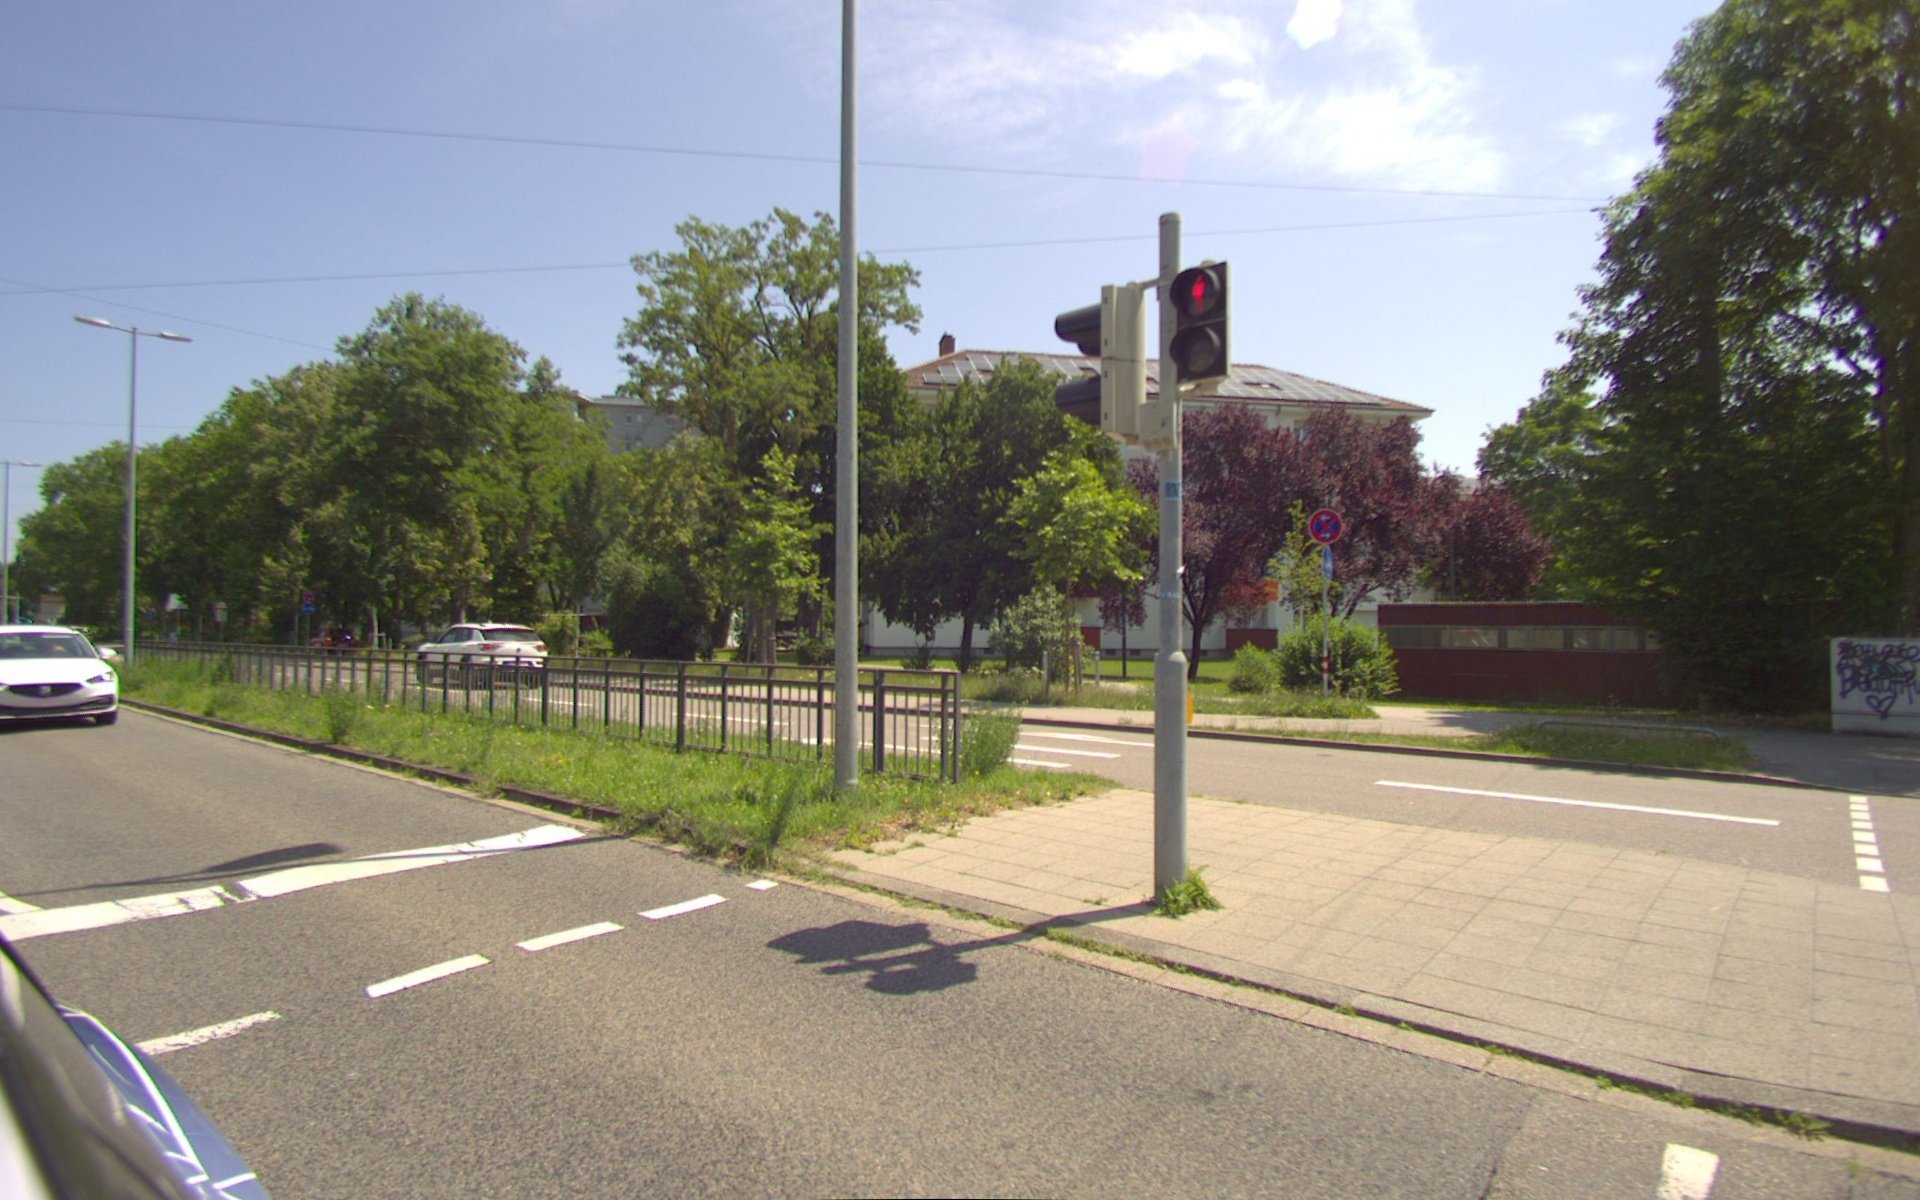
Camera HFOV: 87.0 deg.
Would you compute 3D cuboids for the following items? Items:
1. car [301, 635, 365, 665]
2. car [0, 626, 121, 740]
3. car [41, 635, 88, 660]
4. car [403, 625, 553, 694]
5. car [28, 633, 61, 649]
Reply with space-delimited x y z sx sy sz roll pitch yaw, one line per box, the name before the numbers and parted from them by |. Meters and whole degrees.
car | -35.328 2.798 56.953 3.998 1.597 1.972 -2 -4 42
car | -13.957 1.145 14.969 4.109 1.479 1.749 -2 -1 41
car | -65.731 3.475 74.233 4.476 1.772 1.840 -2 -4 40
car | -12.428 1.476 25.985 4.343 1.584 1.803 -1 -2 40
car | -87.623 3.909 96.845 4.080 1.566 1.749 -2 -3 40
